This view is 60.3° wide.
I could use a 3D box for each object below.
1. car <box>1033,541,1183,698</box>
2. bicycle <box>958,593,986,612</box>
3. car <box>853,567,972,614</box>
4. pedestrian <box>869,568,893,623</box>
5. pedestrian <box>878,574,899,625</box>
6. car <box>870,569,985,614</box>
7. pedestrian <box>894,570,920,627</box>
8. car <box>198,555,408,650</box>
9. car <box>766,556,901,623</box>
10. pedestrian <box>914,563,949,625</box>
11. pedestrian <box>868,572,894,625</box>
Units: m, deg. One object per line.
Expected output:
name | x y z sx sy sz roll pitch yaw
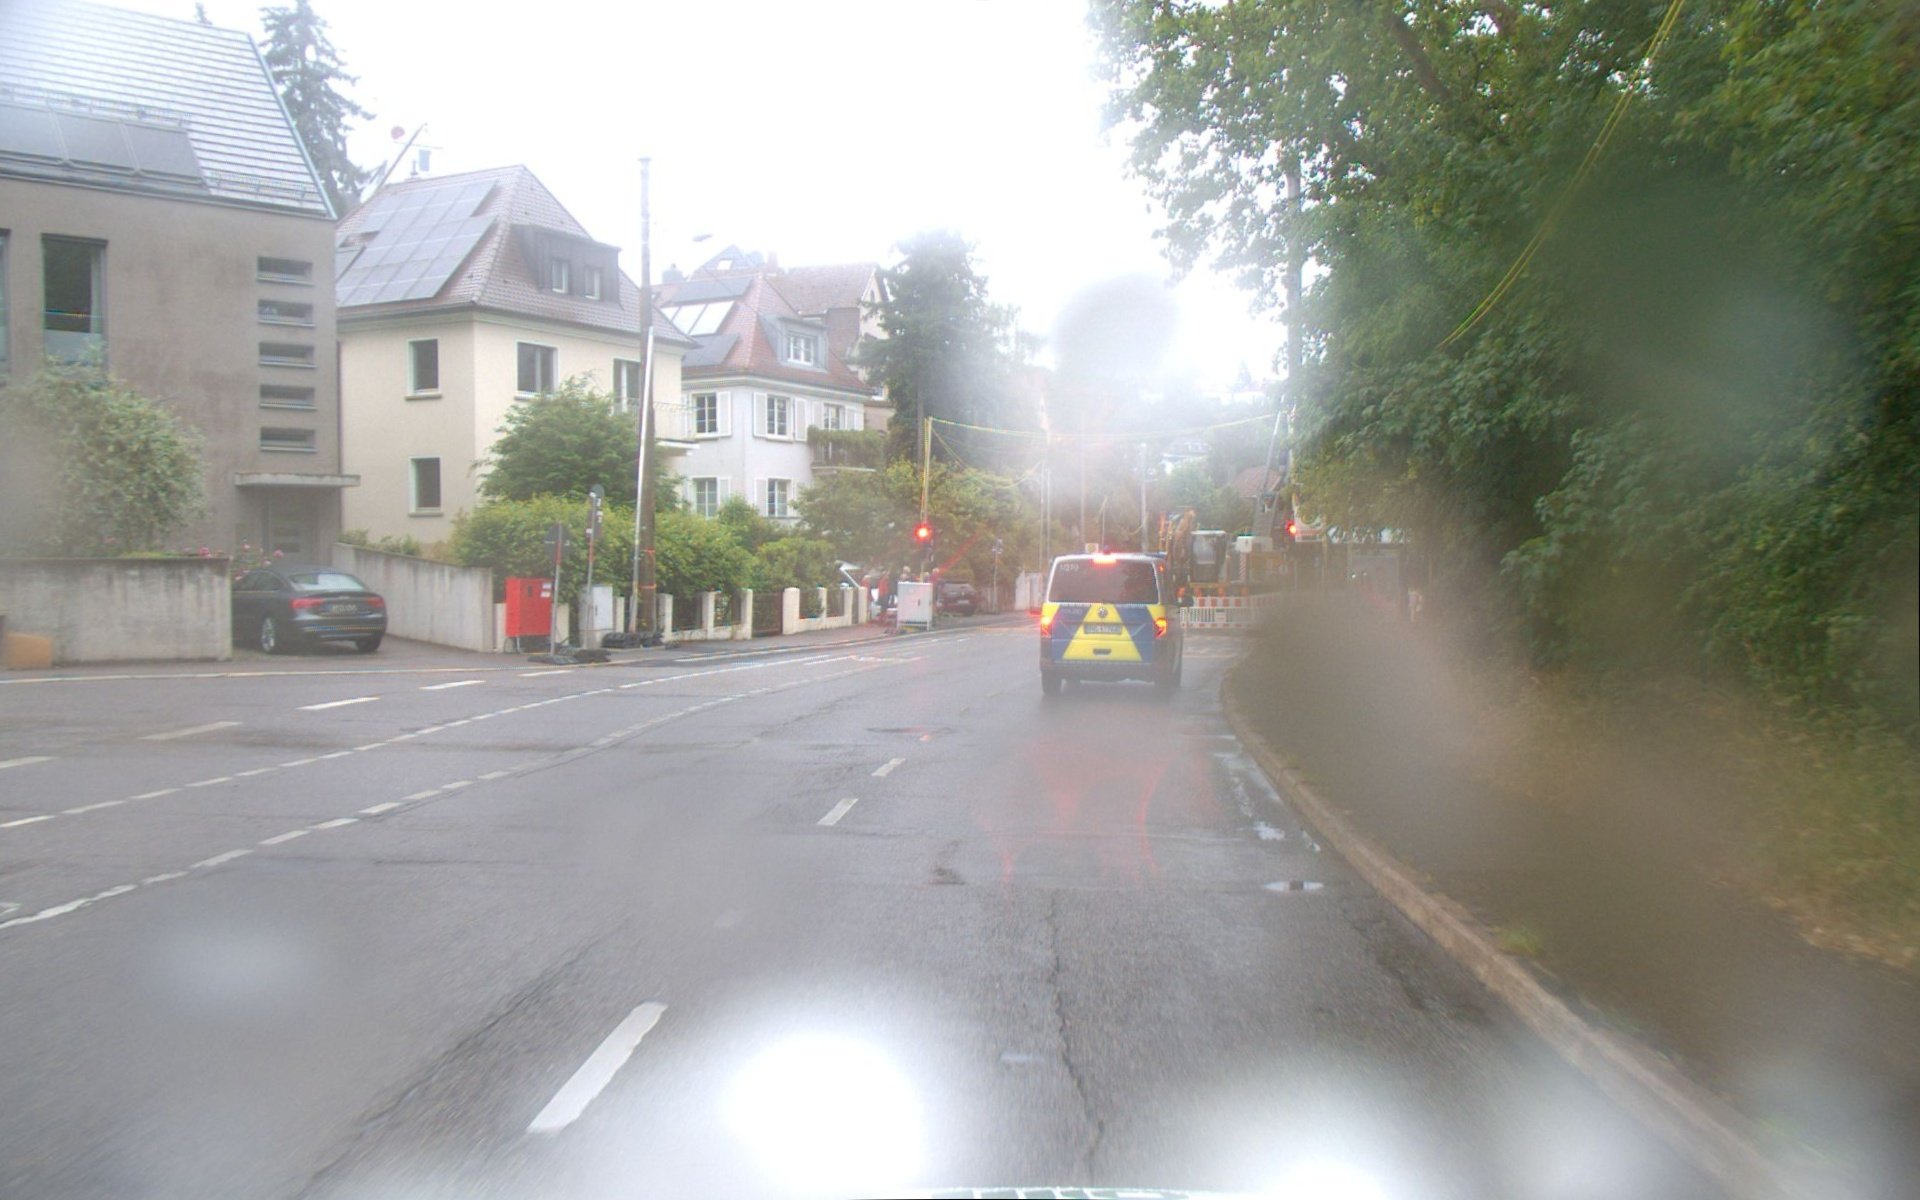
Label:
car | 2.205 0.209 24.372 1.951 2.048 4.405 2 1 6
bicycle | 0.457 0.103 64.973 1.031 0.674 0.320 2 -1 20
car | -1.712 -0.333 60.084 3.905 1.512 1.760 2 -1 20
pedestrian | -2.369 -0.134 49.400 0.551 1.610 0.468 2 -1 11
pedestrian | -2.193 -0.021 50.829 0.514 1.533 0.429 2 -1 11
car | -1.199 -0.318 62.179 3.905 1.512 1.760 2 -1 20
pedestrian | -1.632 -0.045 51.299 0.613 1.745 0.593 2 -1 11
car | -11.229 -0.005 28.161 3.930 1.469 1.828 2 2 43
car | -4.038 -0.355 52.914 3.905 2.049 1.830 1 1 21
pedestrian | -0.859 -0.181 50.181 0.871 1.818 0.829 2 -1 8
pedestrian | -2.393 -0.041 50.202 0.613 1.548 0.593 2 -1 11
